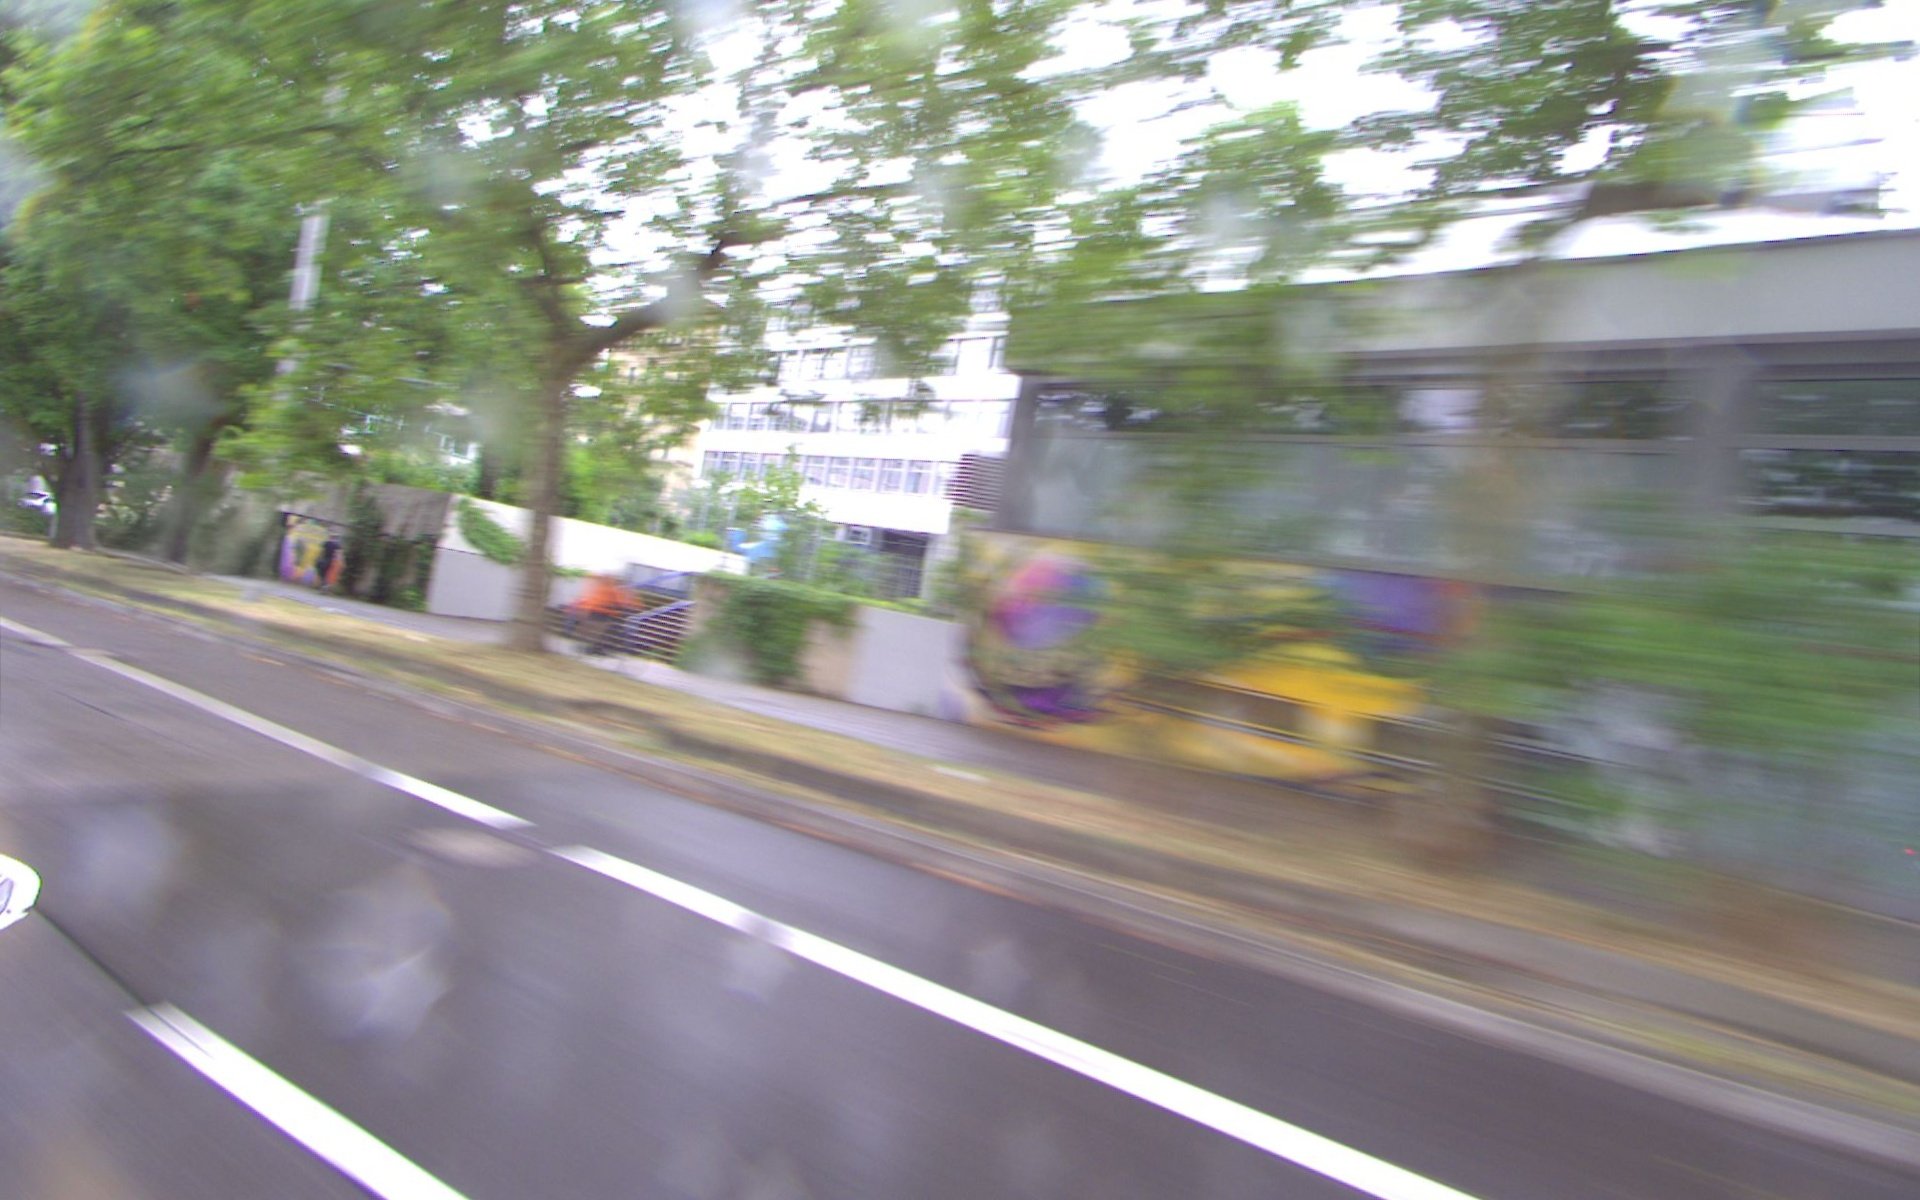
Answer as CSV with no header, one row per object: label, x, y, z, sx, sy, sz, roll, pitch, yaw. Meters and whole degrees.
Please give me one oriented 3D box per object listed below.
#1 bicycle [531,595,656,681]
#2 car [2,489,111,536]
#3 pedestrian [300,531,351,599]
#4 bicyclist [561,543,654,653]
bicycle,-6.129,0.621,16.768,2.165,1.124,0.807,7,-2,37
car,-50.361,-4.846,56.206,1.719,1.702,4.365,9,-3,5
pedestrian,-19.081,-1.063,30.247,1.040,1.886,0.806,7,-1,40
bicyclist,-5.826,-0.029,16.636,1.030,1.646,0.807,7,-2,37
